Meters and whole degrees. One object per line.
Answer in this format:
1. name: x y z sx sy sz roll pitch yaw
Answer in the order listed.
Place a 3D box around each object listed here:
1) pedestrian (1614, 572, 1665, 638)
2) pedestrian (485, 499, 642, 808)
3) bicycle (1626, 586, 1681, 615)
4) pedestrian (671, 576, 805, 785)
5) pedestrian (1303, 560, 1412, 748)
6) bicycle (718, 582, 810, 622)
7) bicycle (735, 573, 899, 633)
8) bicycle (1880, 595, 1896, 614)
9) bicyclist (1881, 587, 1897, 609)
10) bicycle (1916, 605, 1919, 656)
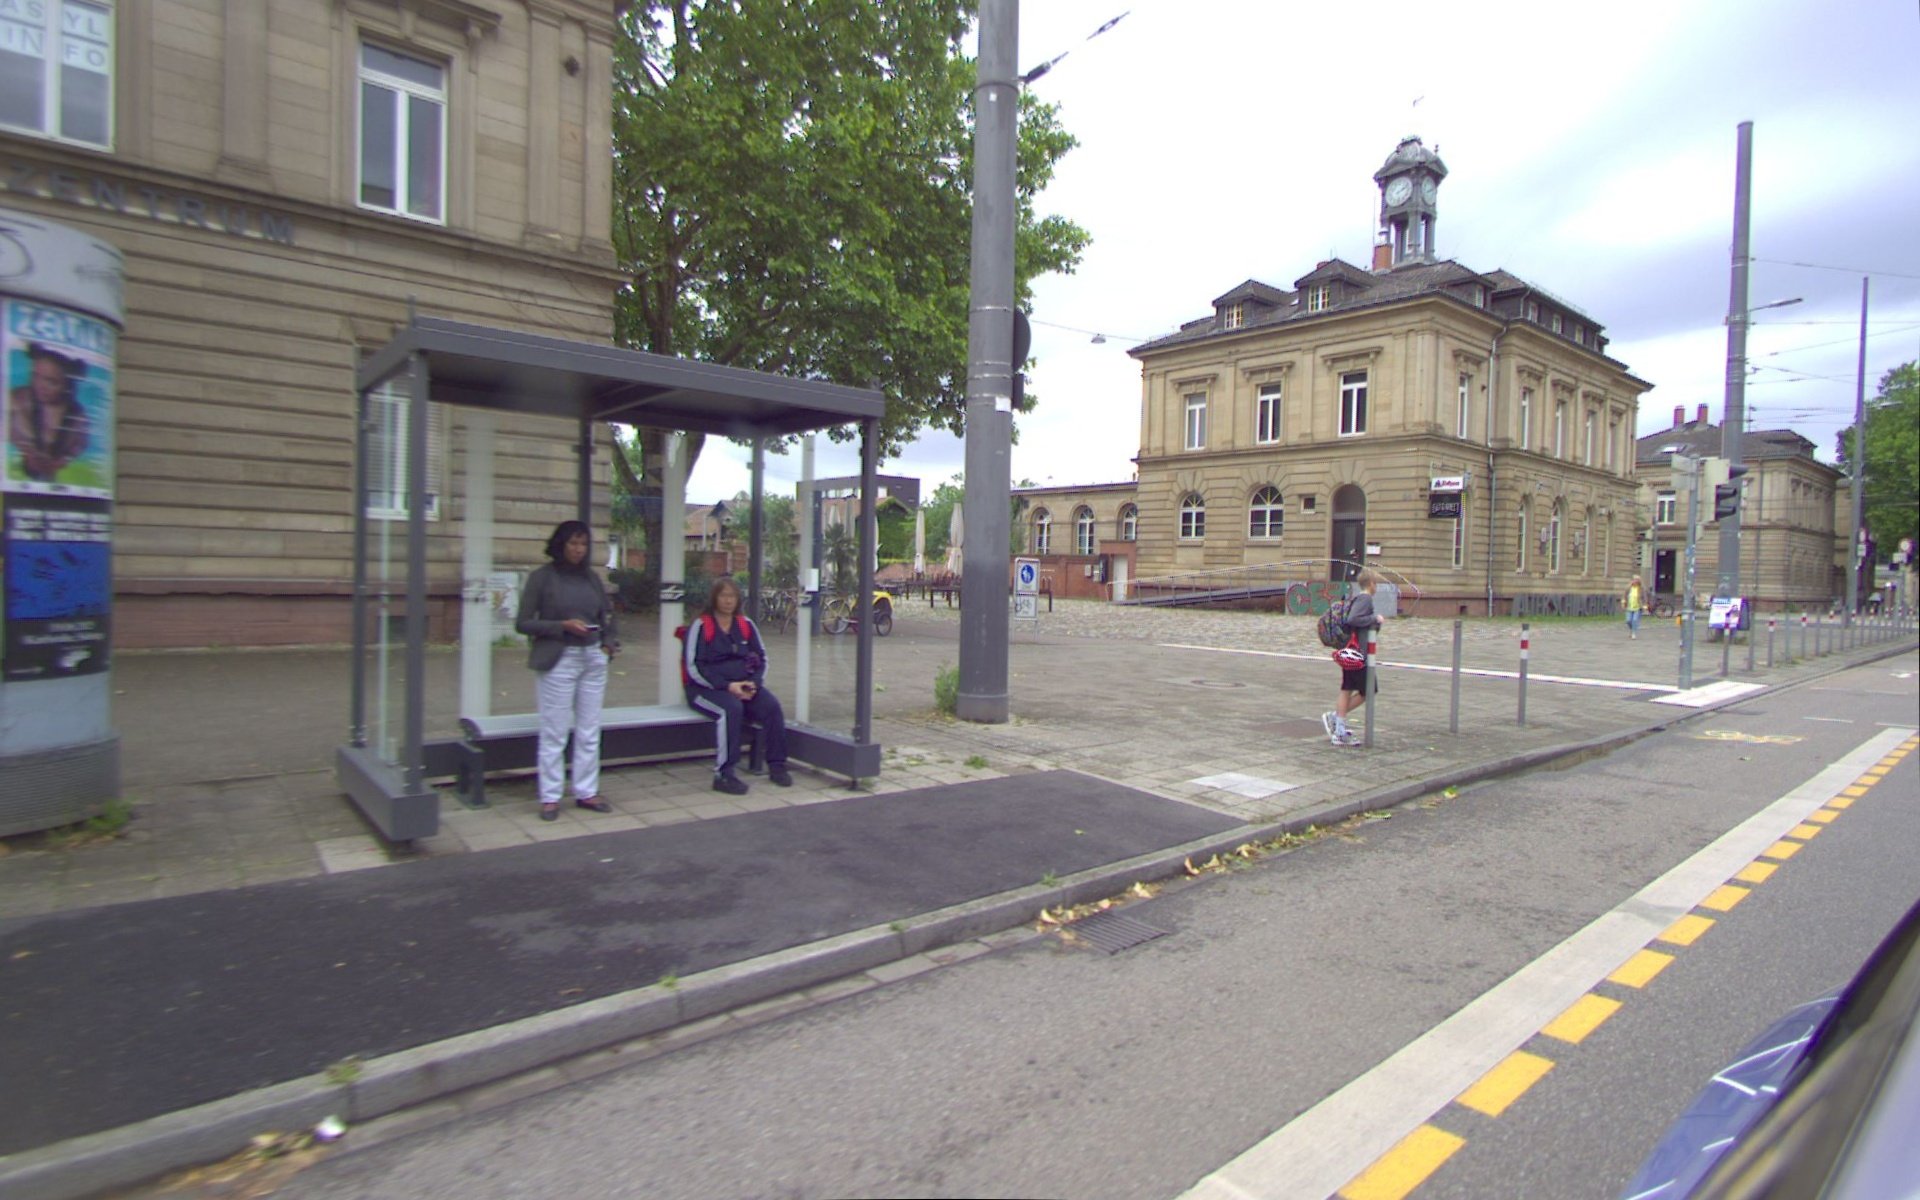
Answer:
1. pedestrian: 17.988 0.112 26.793 0.979 1.698 0.722 0 2 -30
2. pedestrian: -2.188 0.262 5.587 0.690 1.582 0.477 -1 2 -40
3. bicycle: 29.737 0.008 43.435 1.845 1.091 0.541 6 4 33
4. pedestrian: -1.422 0.476 6.481 0.690 1.249 0.477 -1 2 -40
5. pedestrian: 3.421 0.437 8.728 0.625 1.547 0.554 0 2 -22
6. bicycle: -4.454 0.037 23.130 2.046 0.882 0.610 0 2 -42
7. bicycle: -2.859 0.092 20.684 3.347 1.082 0.902 3 0 -42
8. bicycle: 60.869 0.279 66.370 0.674 1.179 2.083 3 3 41
9. bicyclist: 60.896 -0.115 66.337 0.692 1.417 0.804 3 2 40
10. bicycle: 23.241 0.706 23.844 2.238 1.184 0.814 -1 3 -42
